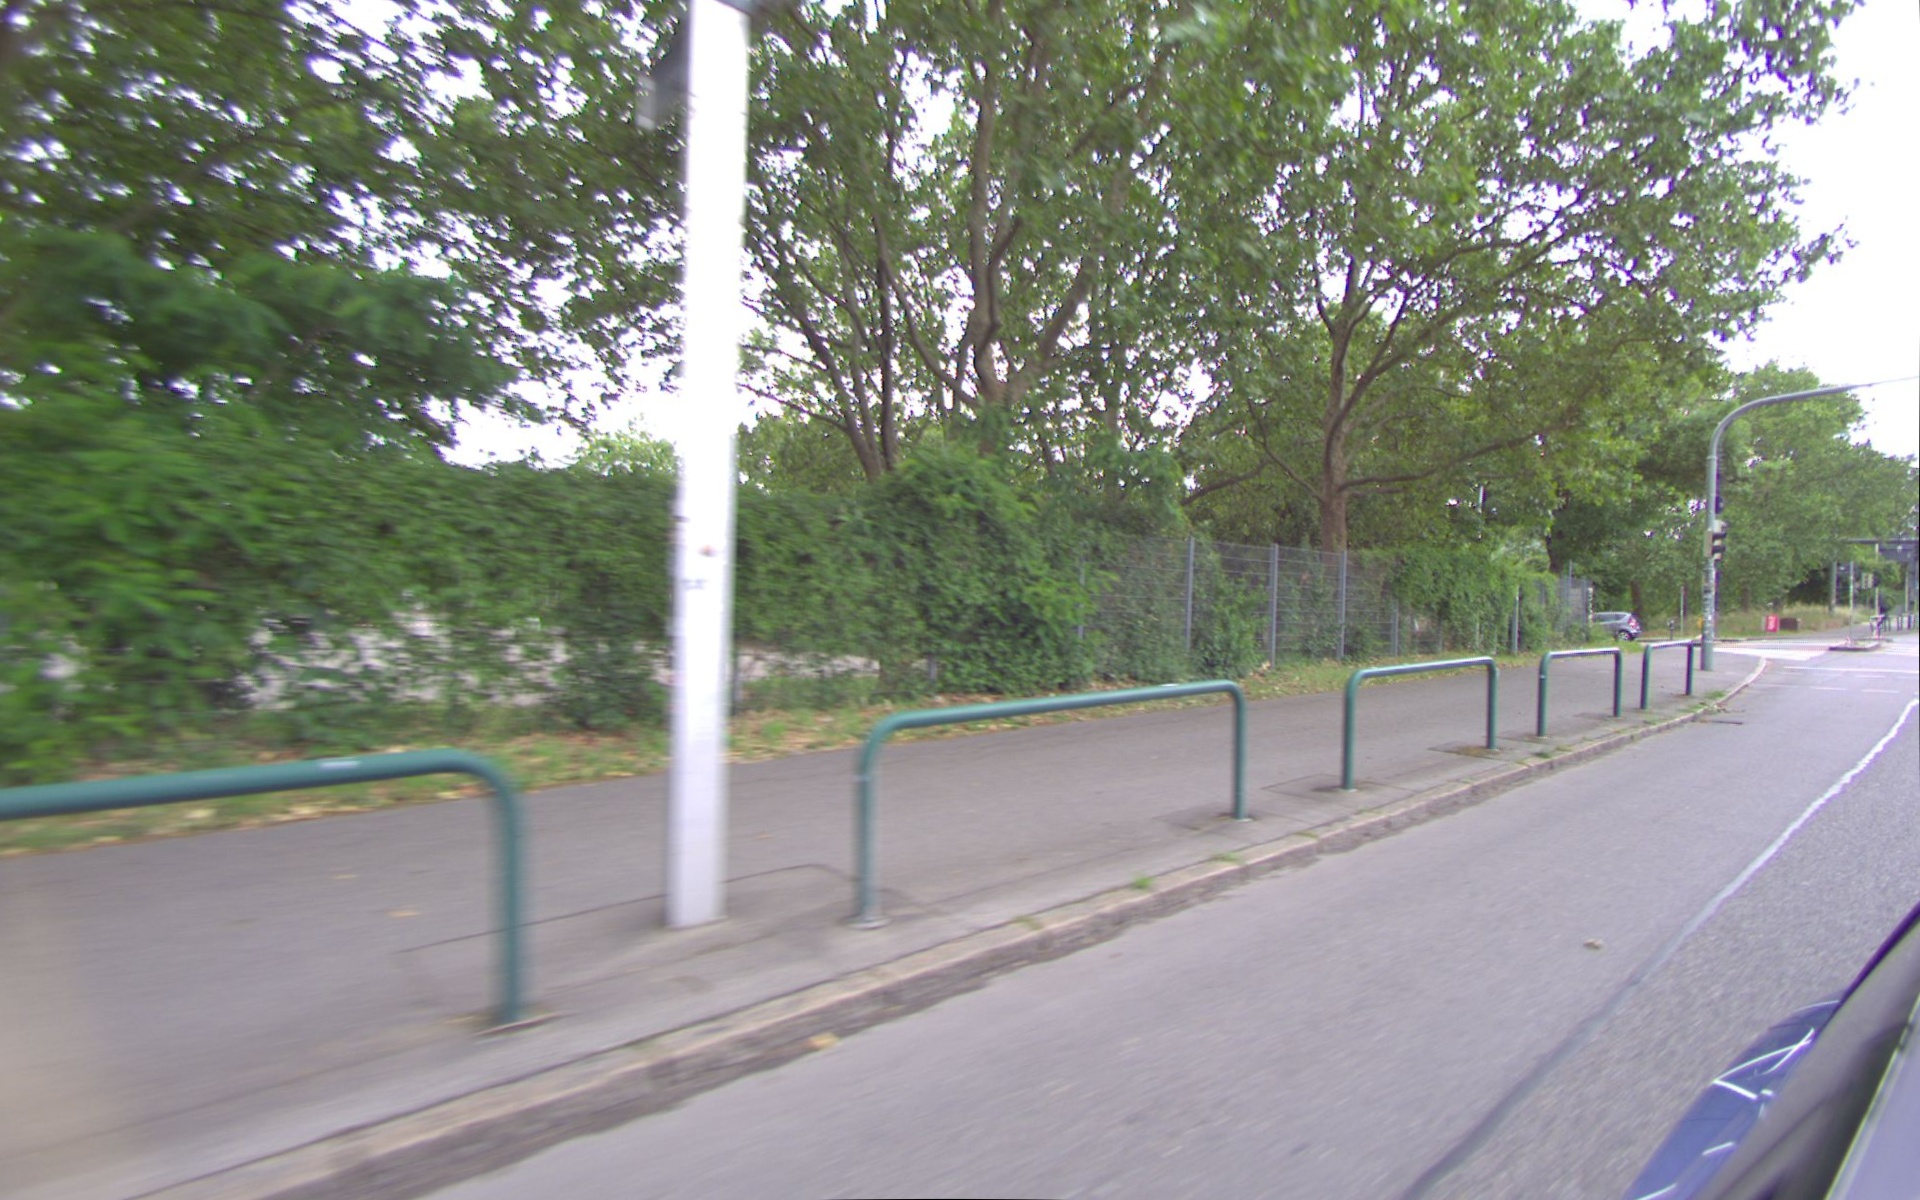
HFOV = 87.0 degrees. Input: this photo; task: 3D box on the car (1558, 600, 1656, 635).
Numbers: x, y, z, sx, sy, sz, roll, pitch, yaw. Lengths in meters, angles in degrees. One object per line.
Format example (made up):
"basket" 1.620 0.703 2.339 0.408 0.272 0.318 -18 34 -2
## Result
"car" 33.110 0.878 51.874 4.018 1.637 1.804 1 -1 42
